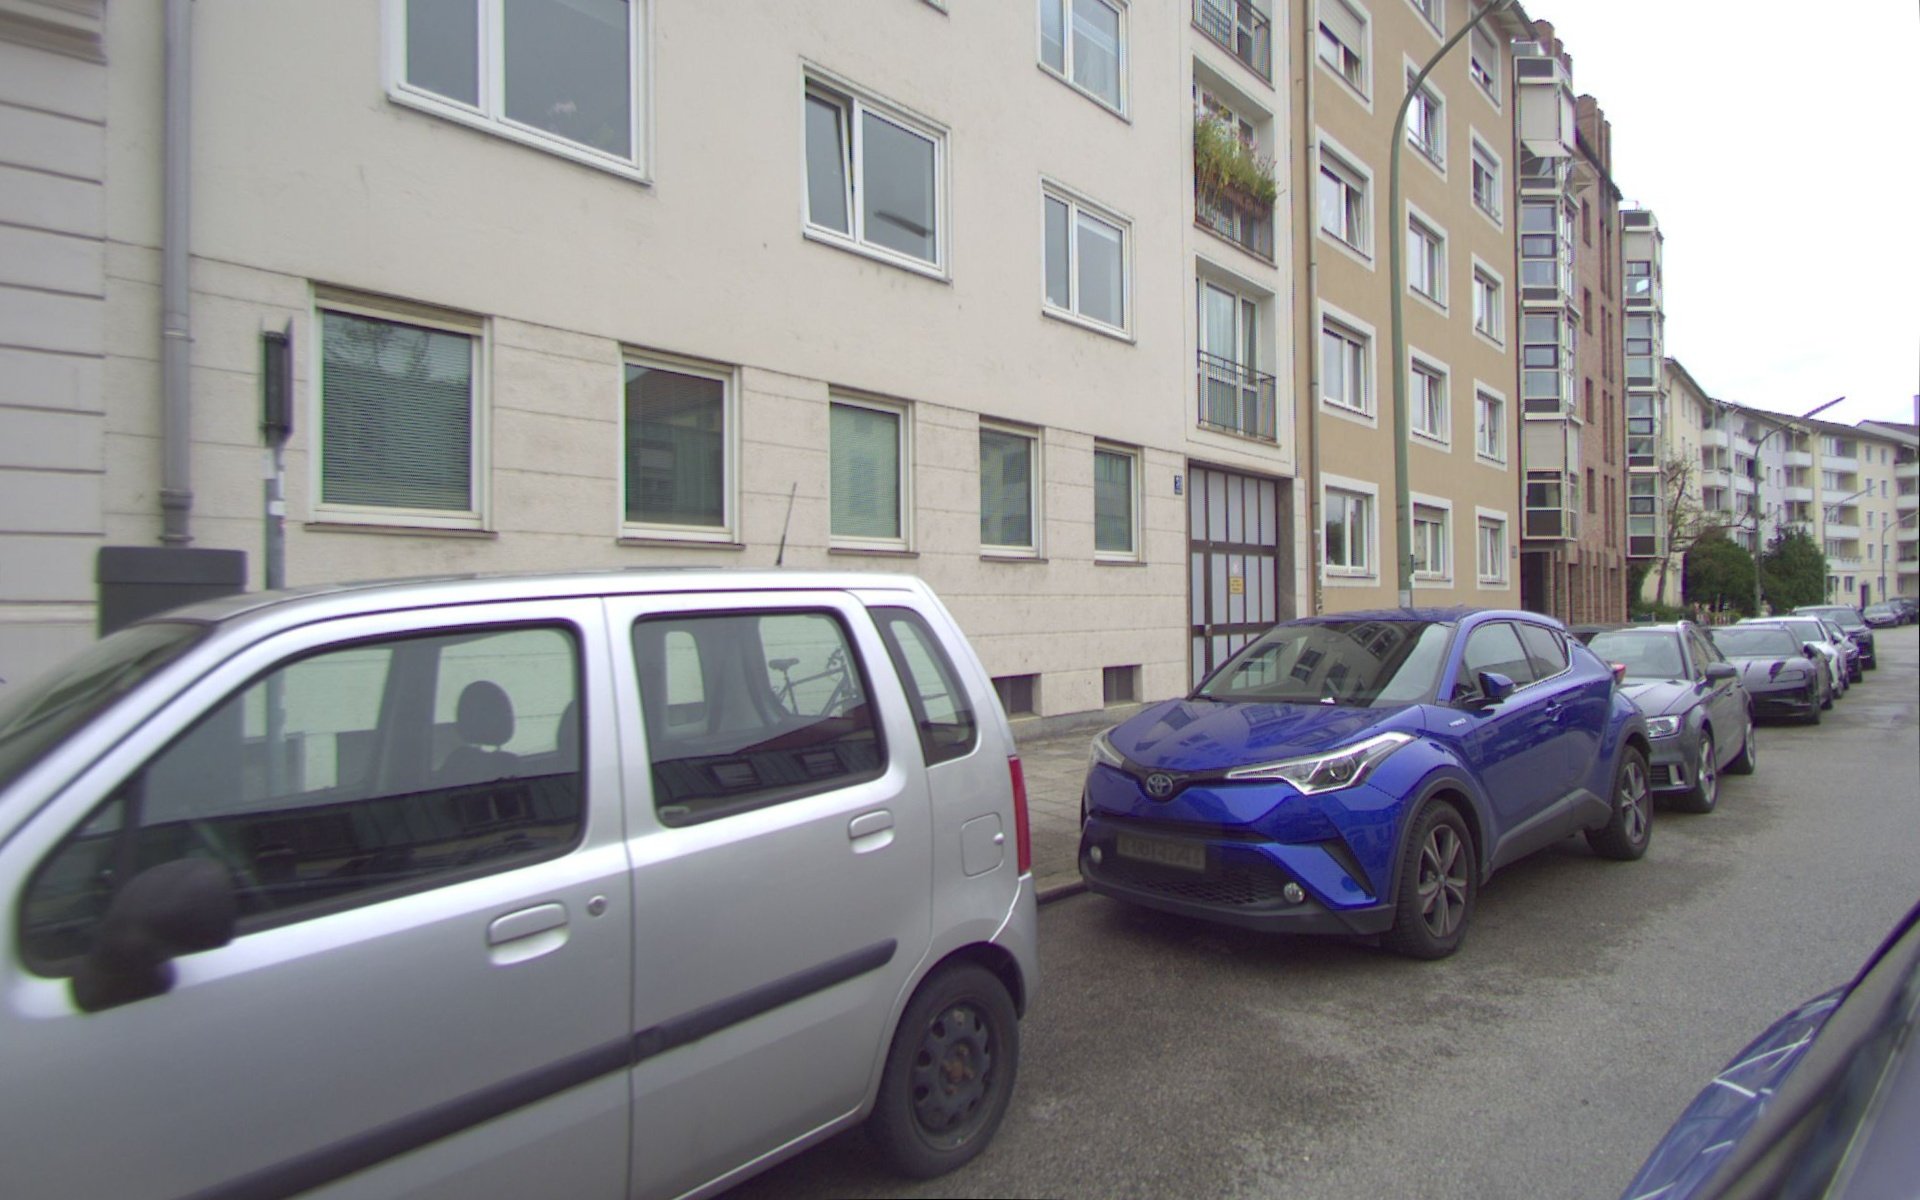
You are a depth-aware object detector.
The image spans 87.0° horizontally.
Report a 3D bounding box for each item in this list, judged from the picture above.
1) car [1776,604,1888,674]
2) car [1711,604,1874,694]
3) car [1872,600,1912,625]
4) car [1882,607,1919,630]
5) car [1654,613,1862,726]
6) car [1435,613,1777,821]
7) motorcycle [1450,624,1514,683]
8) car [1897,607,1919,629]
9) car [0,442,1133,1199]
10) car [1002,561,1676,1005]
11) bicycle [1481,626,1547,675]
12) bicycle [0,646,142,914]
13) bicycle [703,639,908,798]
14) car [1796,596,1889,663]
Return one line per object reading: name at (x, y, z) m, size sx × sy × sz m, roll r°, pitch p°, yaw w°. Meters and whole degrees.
car at (19.623, 0.809, 22.727) m, size 1.737 × 1.356 × 4.101 m, roll 2°, pitch 1°, yaw 42°
car at (15.752, 0.887, 19.068) m, size 1.890 × 1.482 × 4.418 m, roll -6°, pitch -5°, yaw 44°
car at (58.914, 0.753, 64.016) m, size 1.750 × 1.471 × 3.516 m, roll 2°, pitch 1°, yaw 41°
car at (62.225, 1.190, 66.927) m, size 1.750 × 1.472 × 3.516 m, roll 0°, pitch 0°, yaw 41°
car at (11.951, 0.948, 15.039) m, size 1.890 × 1.415 × 4.418 m, roll -4°, pitch -4°, yaw 44°
car at (5.905, 0.832, 9.034) m, size 1.741 × 1.414 × 4.133 m, roll -2°, pitch -2°, yaw 44°
motorcycle at (10.830, 1.083, 20.976) m, size 1.768 × 1.140 × 0.628 m, roll 1°, pitch 0°, yaw -43°
car at (66.125, 1.260, 69.958) m, size 3.509 × 1.472 × 1.754 m, roll 1°, pitch 0°, yaw -43°
car at (-1.283, 0.641, 2.479) m, size 1.604 × 1.663 × 3.573 m, roll -2°, pitch -2°, yaw 44°
car at (2.345, 0.703, 5.698) m, size 4.126 × 1.608 × 1.743 m, roll 1°, pitch -2°, yaw -40°
bicycle at (12.642, 1.123, 23.063) m, size 0.711 × 1.031 × 2.360 m, roll 0°, pitch 0°, yaw 44°
bicycle at (-4.755, 0.802, 4.301) m, size 0.667 × 1.135 × 1.924 m, roll -1°, pitch -1°, yaw 44°
bicycle at (-1.256, 0.925, 8.438) m, size 0.667 × 1.135 × 1.625 m, roll -1°, pitch -1°, yaw 44°
car at (23.129, 0.721, 26.488) m, size 1.736 × 1.599 × 3.774 m, roll 1°, pitch 0°, yaw 43°
